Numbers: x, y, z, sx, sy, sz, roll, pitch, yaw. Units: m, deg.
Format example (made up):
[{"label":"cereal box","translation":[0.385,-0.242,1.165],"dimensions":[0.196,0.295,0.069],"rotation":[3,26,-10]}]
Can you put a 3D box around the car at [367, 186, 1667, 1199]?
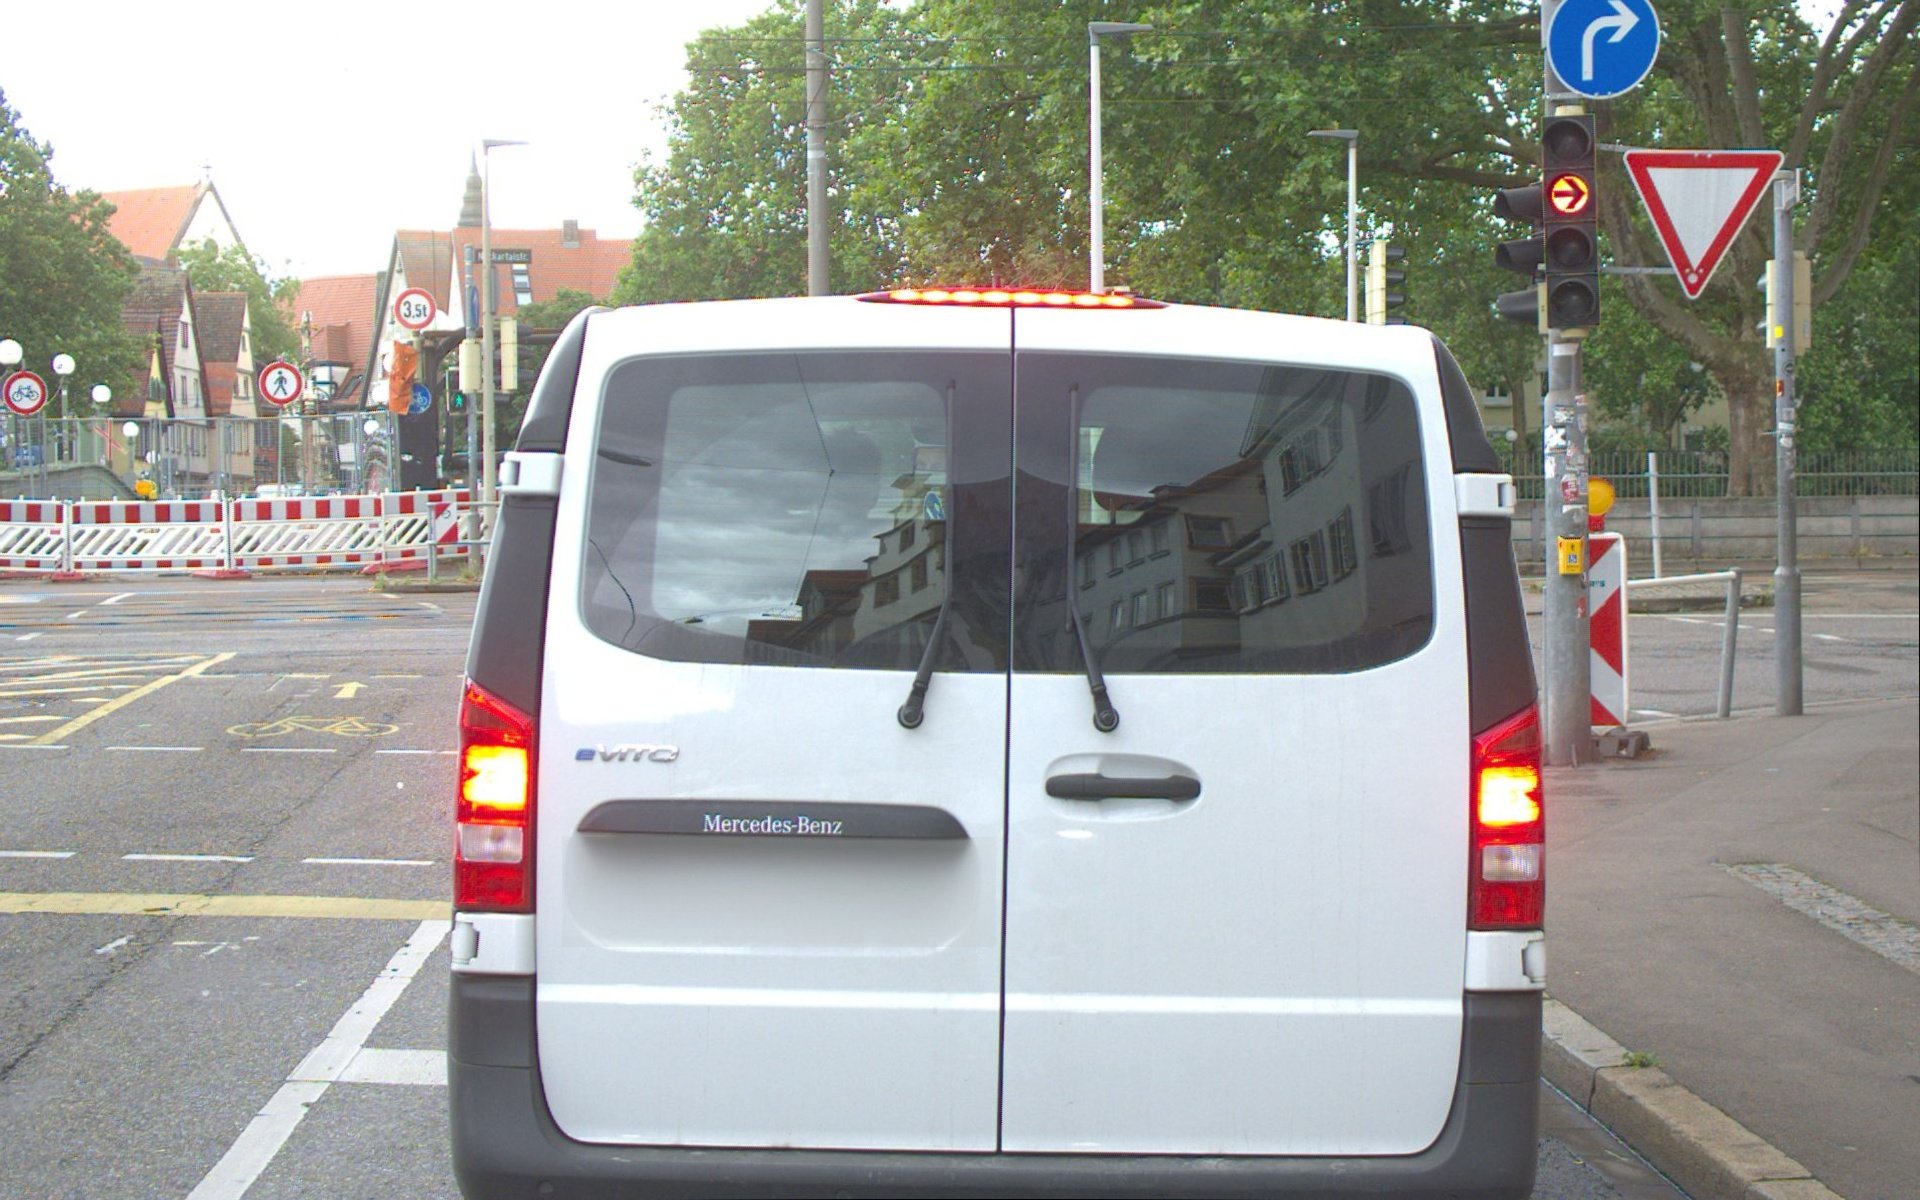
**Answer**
[{"label":"car","translation":[0.054,0.293,7.573],"dimensions":[1.951,2.006,4.699],"rotation":[1,2,-1]}]
